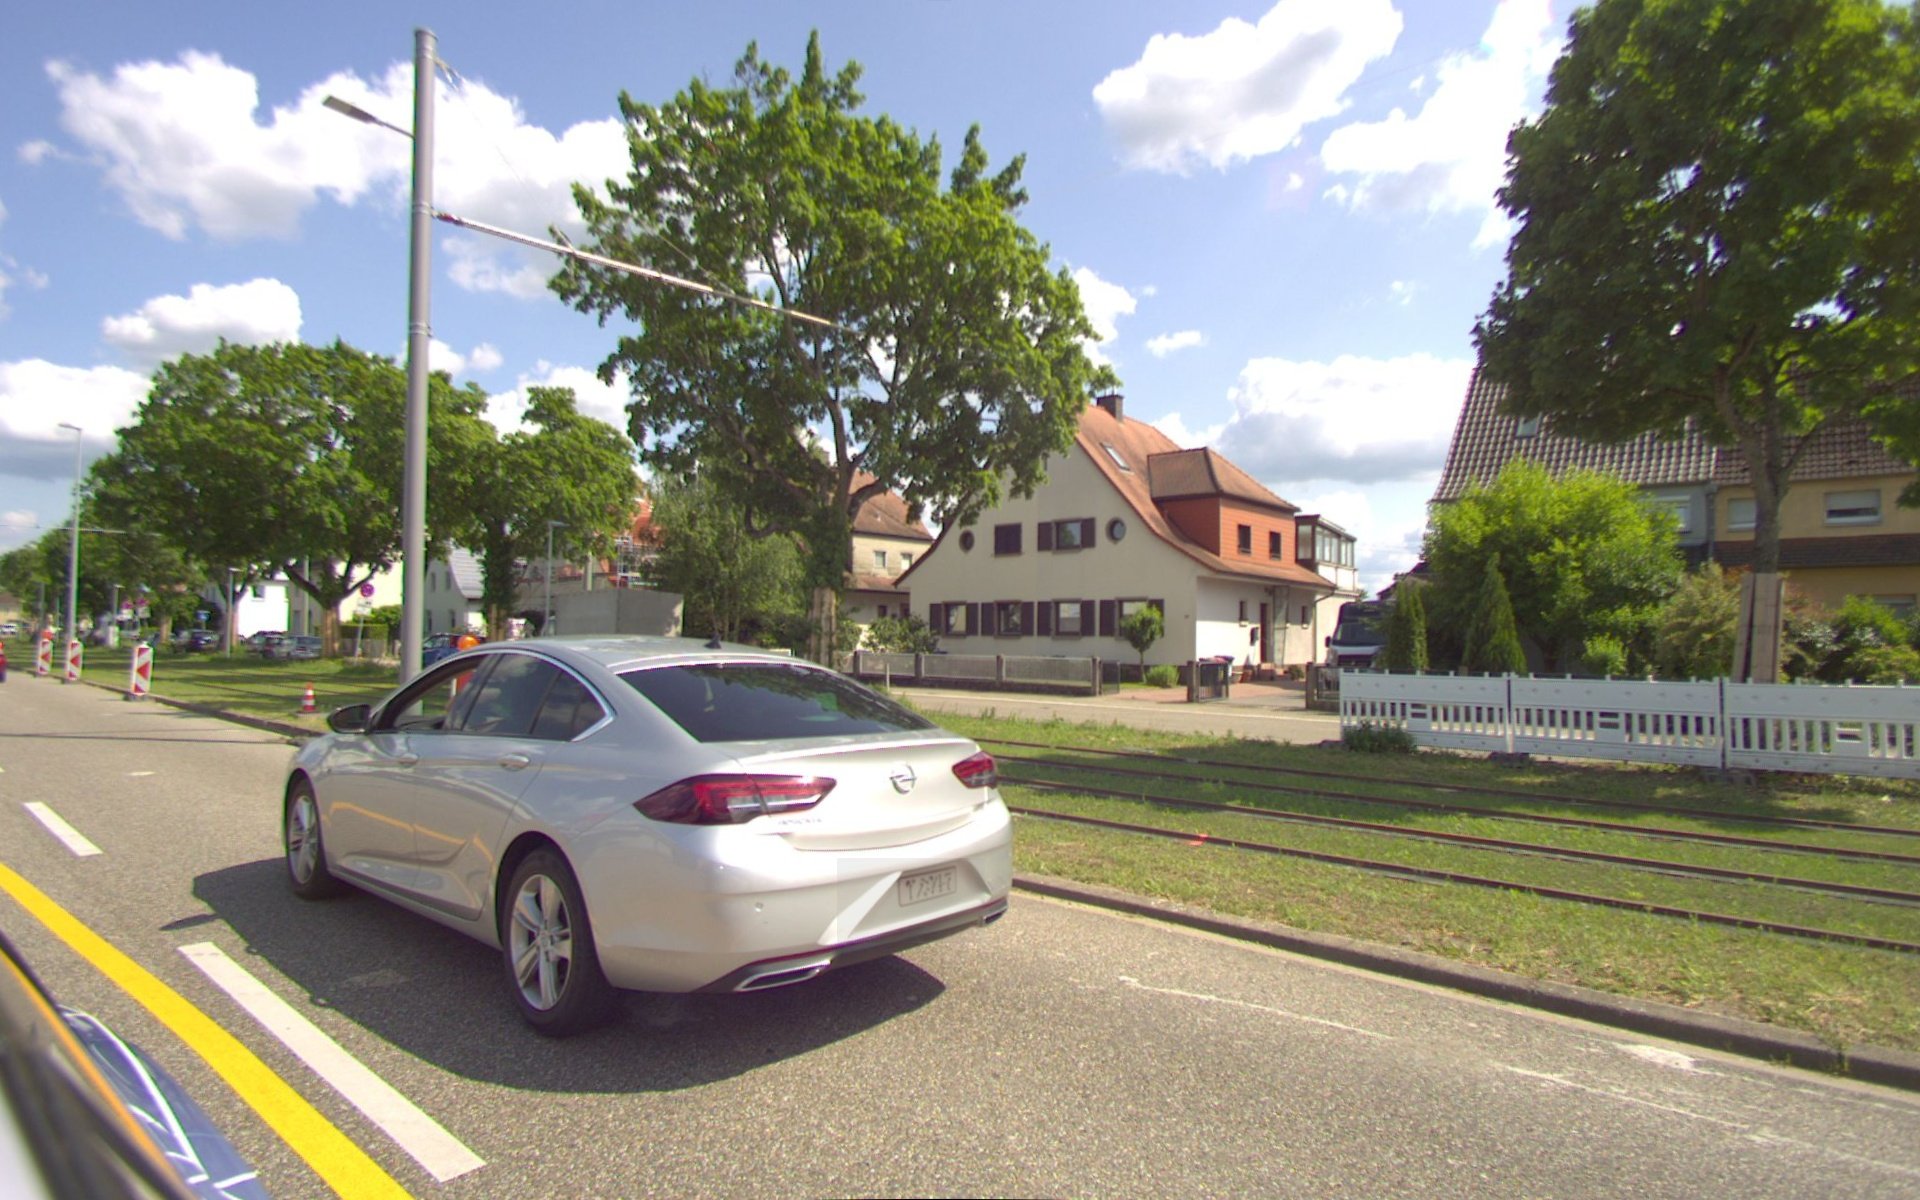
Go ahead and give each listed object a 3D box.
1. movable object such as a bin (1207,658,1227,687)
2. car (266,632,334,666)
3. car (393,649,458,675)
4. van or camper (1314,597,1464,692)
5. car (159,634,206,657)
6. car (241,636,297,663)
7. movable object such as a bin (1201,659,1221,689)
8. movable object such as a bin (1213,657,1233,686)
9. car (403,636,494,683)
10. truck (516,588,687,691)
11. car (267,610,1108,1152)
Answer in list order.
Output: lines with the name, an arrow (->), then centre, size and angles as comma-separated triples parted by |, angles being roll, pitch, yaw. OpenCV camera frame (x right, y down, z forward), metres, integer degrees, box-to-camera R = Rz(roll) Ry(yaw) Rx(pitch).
movable object such as a bin -> 7.965, 2.247, 31.349 | 0.458, 0.874, 0.469 | -1, -1, 40
car -> -32.099, 2.342, 49.190 | 4.523, 1.524, 1.685 | -1, -1, 42
car -> -31.283, 3.603, 59.292 | 3.190, 1.393, 1.492 | 0, -1, -18
van or camper -> 13.469, 1.250, 31.498 | 2.498, 2.652, 6.268 | -1, -1, 41
car -> -48.606, 2.828, 63.248 | 3.999, 1.311, 1.615 | -1, -1, 42
car -> -36.194, 2.582, 52.972 | 3.786, 1.251, 1.603 | -1, -1, 42
movable object such as a bin -> 7.682, 2.246, 30.975 | 0.458, 0.874, 0.469 | -1, -1, 40
movable object such as a bin -> 8.245, 2.248, 31.718 | 0.458, 0.874, 0.469 | -1, -1, 40
car -> -18.771, 2.137, 37.065 | 3.930, 1.524, 1.651 | -1, -1, 42
truck -> -10.905, 1.110, 30.508 | 5.950, 2.826, 2.340 | -1, -1, 42
car -> -1.667, 0.828, 4.939 | 4.483, 1.456, 1.801 | -1, -4, 42
